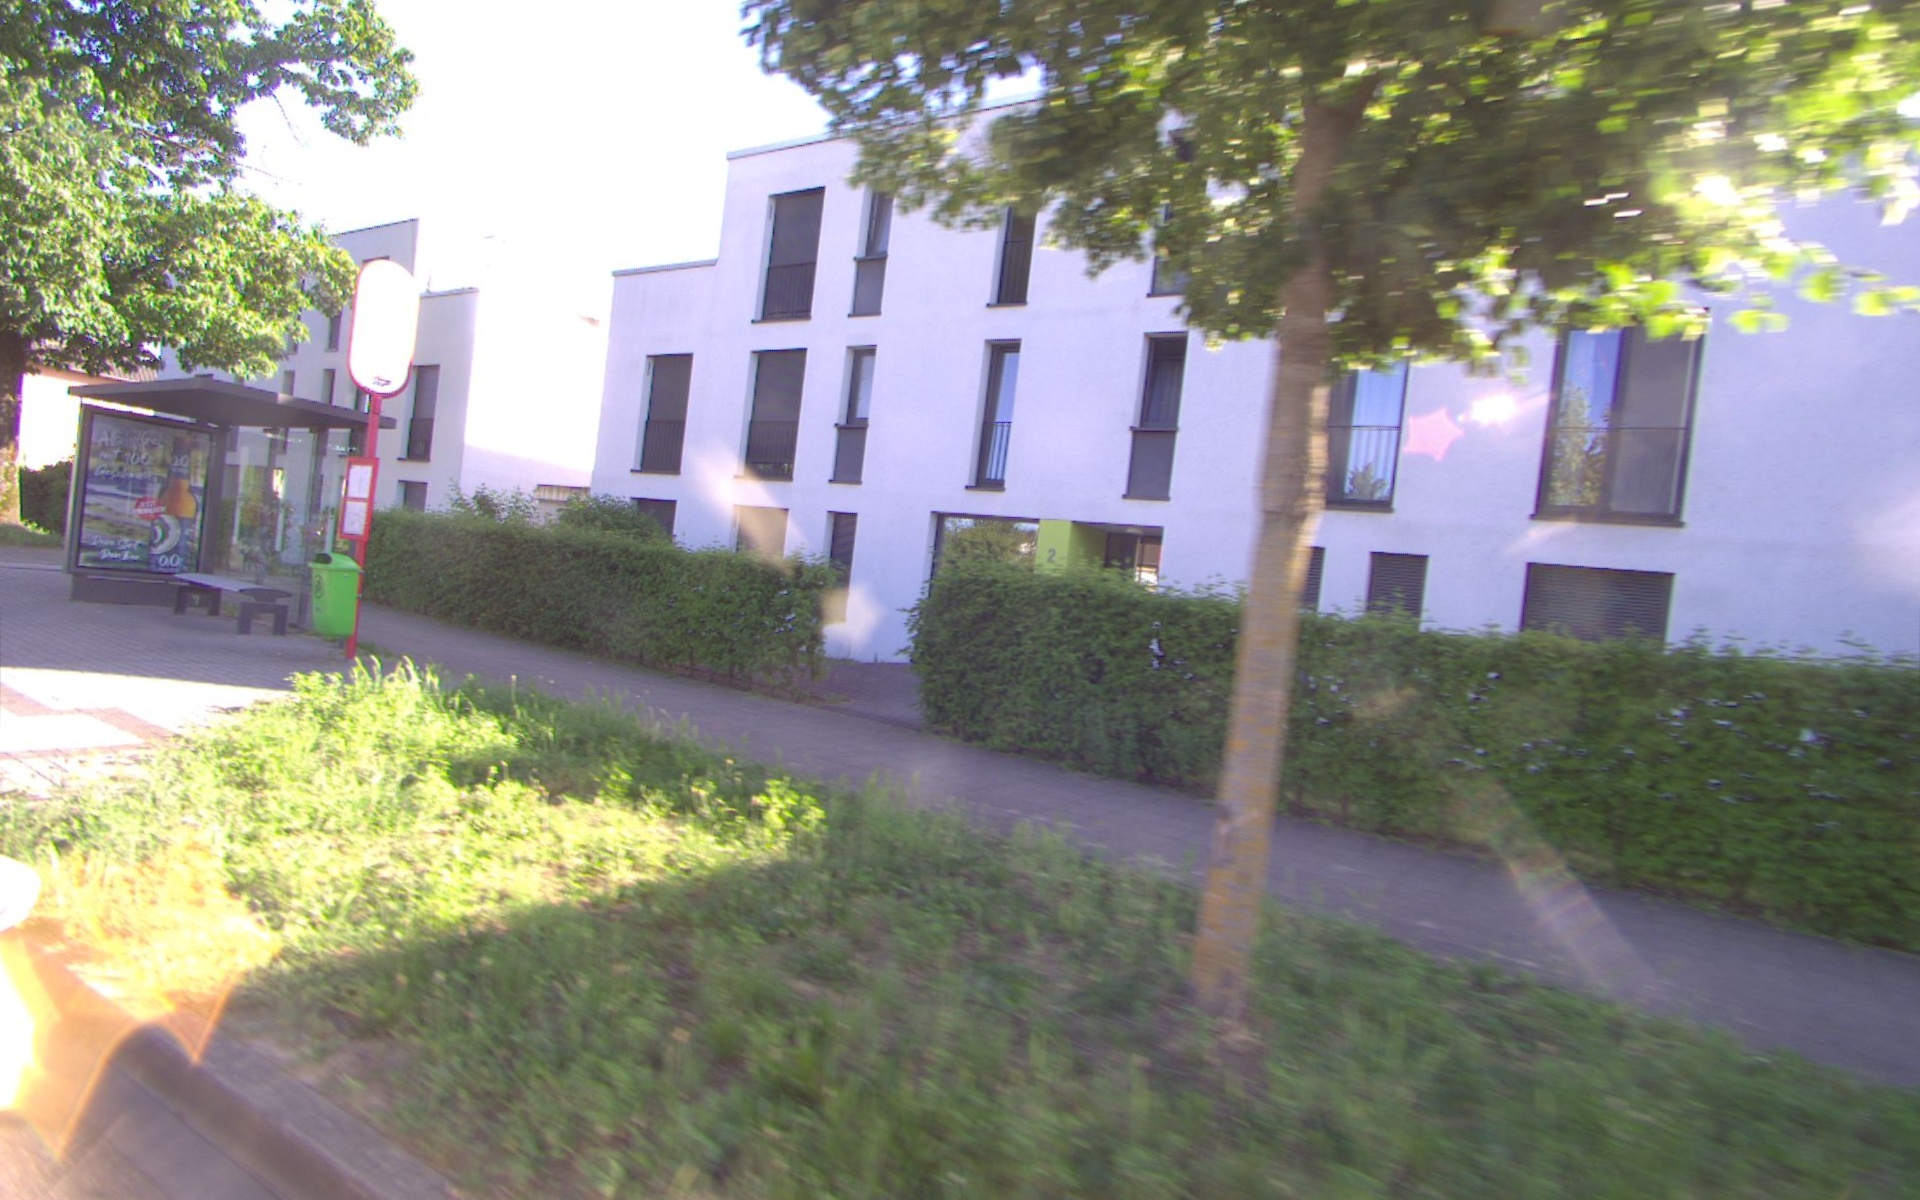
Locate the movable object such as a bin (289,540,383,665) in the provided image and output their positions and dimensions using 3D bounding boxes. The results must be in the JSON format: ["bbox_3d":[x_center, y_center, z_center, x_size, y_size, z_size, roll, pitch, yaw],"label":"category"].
[{"bbox_3d":[-5.571,0.025,8.977,0.589,1.029,0.369,8,2,25],"label":"movable object such as a bin"}]
